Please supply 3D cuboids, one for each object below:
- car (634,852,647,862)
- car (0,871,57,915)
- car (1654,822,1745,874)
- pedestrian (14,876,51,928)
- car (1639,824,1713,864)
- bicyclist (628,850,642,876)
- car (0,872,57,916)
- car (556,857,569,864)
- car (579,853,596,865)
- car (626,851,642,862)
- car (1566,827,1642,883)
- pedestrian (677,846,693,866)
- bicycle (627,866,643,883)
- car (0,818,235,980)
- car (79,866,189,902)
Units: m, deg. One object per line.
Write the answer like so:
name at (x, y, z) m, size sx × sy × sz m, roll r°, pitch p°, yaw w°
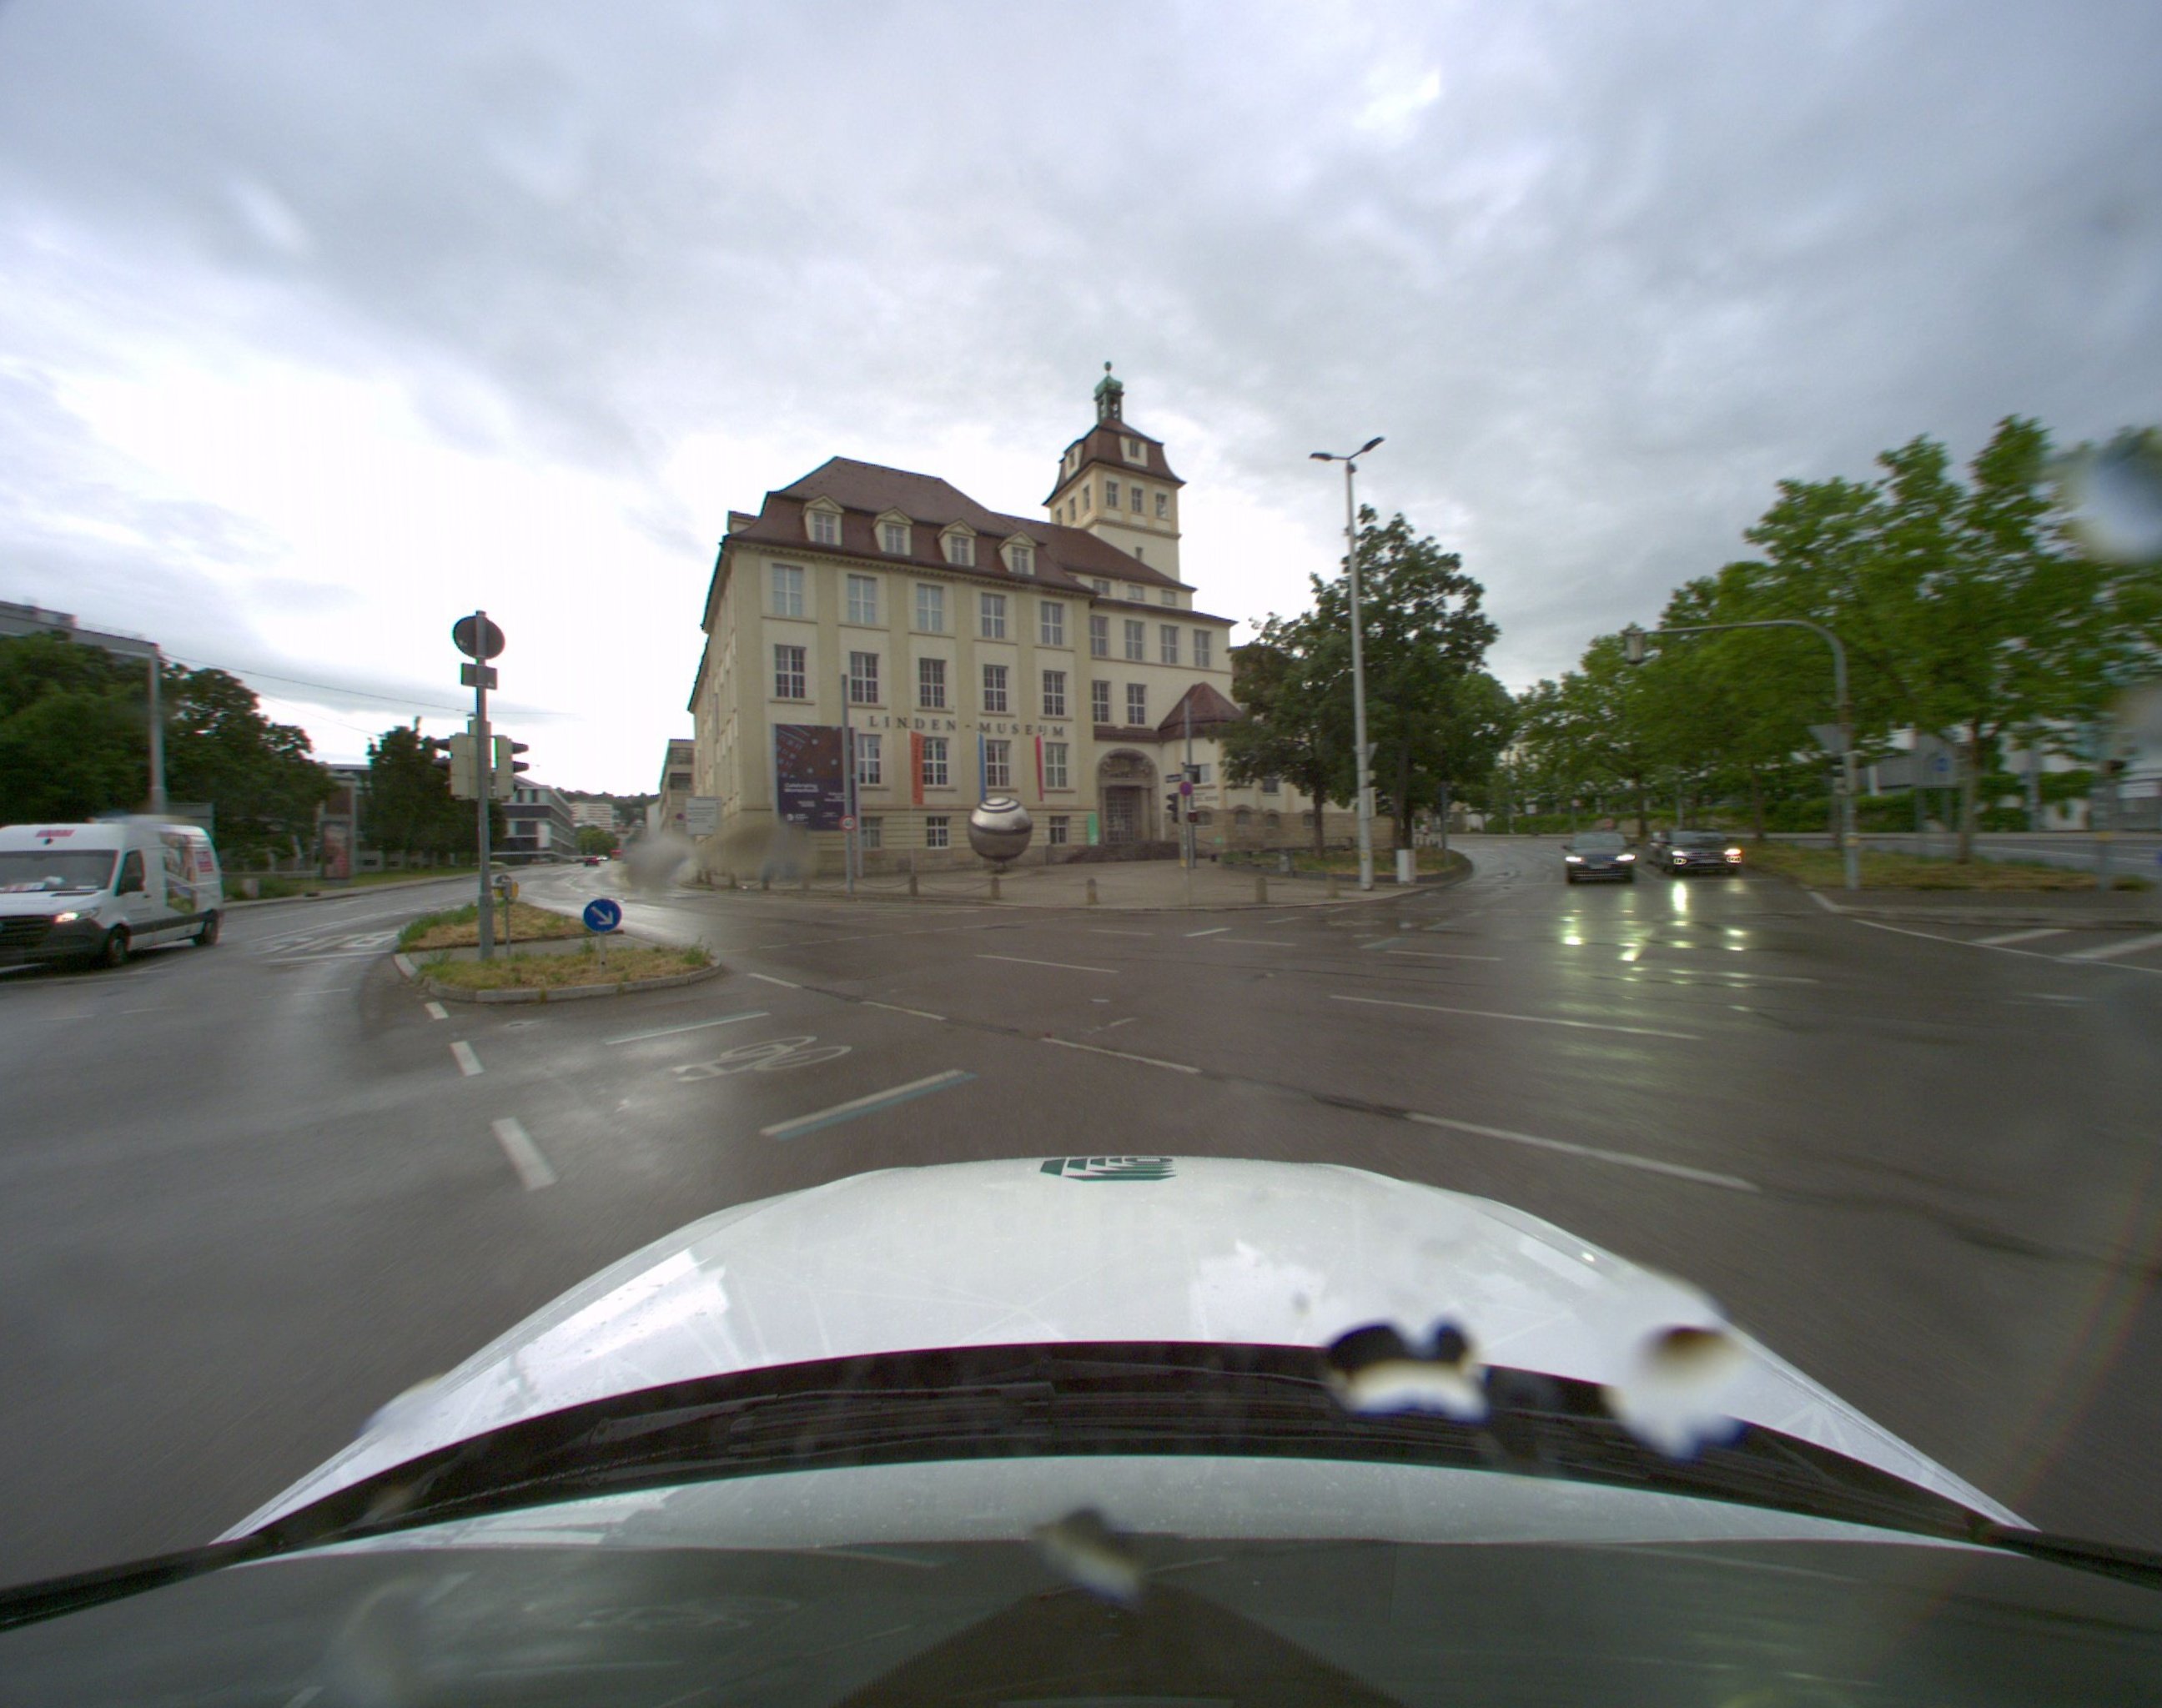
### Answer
car at (-73.570, 0.465, 136.114) m, size 1.849 × 1.559 × 3.965 m, roll 0°, pitch 2°, yaw -28°
car at (-38.379, 1.415, 28.073) m, size 4.043 × 1.442 × 1.856 m, roll -2°, pitch 0°, yaw 5°
car at (20.845, -0.216, 27.597) m, size 1.772 × 1.585 × 4.025 m, roll -2°, pitch 0°, yaw 28°
pedestrian at (-32.818, 1.487, 25.497) m, size 0.503 × 1.595 × 0.617 m, roll 0°, pitch 0°, yaw 25°
car at (23.760, -0.419, 32.647) m, size 1.772 × 1.441 × 4.025 m, roll -2°, pitch 0°, yaw 28°
bicyclist at (-27.930, 0.552, 51.024) m, size 0.705 × 1.632 × 1.117 m, roll 0°, pitch 0°, yaw -33°
car at (-38.368, 1.373, 28.079) m, size 3.969 × 1.415 × 1.836 m, roll 0°, pitch 0°, yaw 4°
car at (-109.225, 1.312, 171.493) m, size 1.848 × 1.235 × 3.388 m, roll 0°, pitch 2°, yaw -25°
car at (-70.307, 0.719, 116.119) m, size 1.904 × 1.625 × 3.612 m, roll 0°, pitch 2°, yaw -29°
car at (-65.129, 0.332, 118.717) m, size 1.848 × 1.559 × 3.967 m, roll 0°, pitch 2°, yaw -25°
car at (16.801, -0.005, 26.216) m, size 1.849 × 1.564 × 4.304 m, roll -3°, pitch 1°, yaw 32°
pedestrian at (-38.392, 0.173, 78.923) m, size 1.246 × 1.788 × 1.581 m, roll -4°, pitch 2°, yaw -26°
bicycle at (-27.901, 1.262, 50.941) m, size 0.650 × 1.056 × 1.802 m, roll -1°, pitch 0°, yaw -34°
car at (-18.447, 0.731, 15.200) m, size 2.072 × 2.494 × 5.979 m, roll -3°, pitch 1°, yaw -31°
car at (-41.803, 1.303, 35.966) m, size 4.027 × 1.442 × 1.864 m, roll 0°, pitch 0°, yaw 21°
